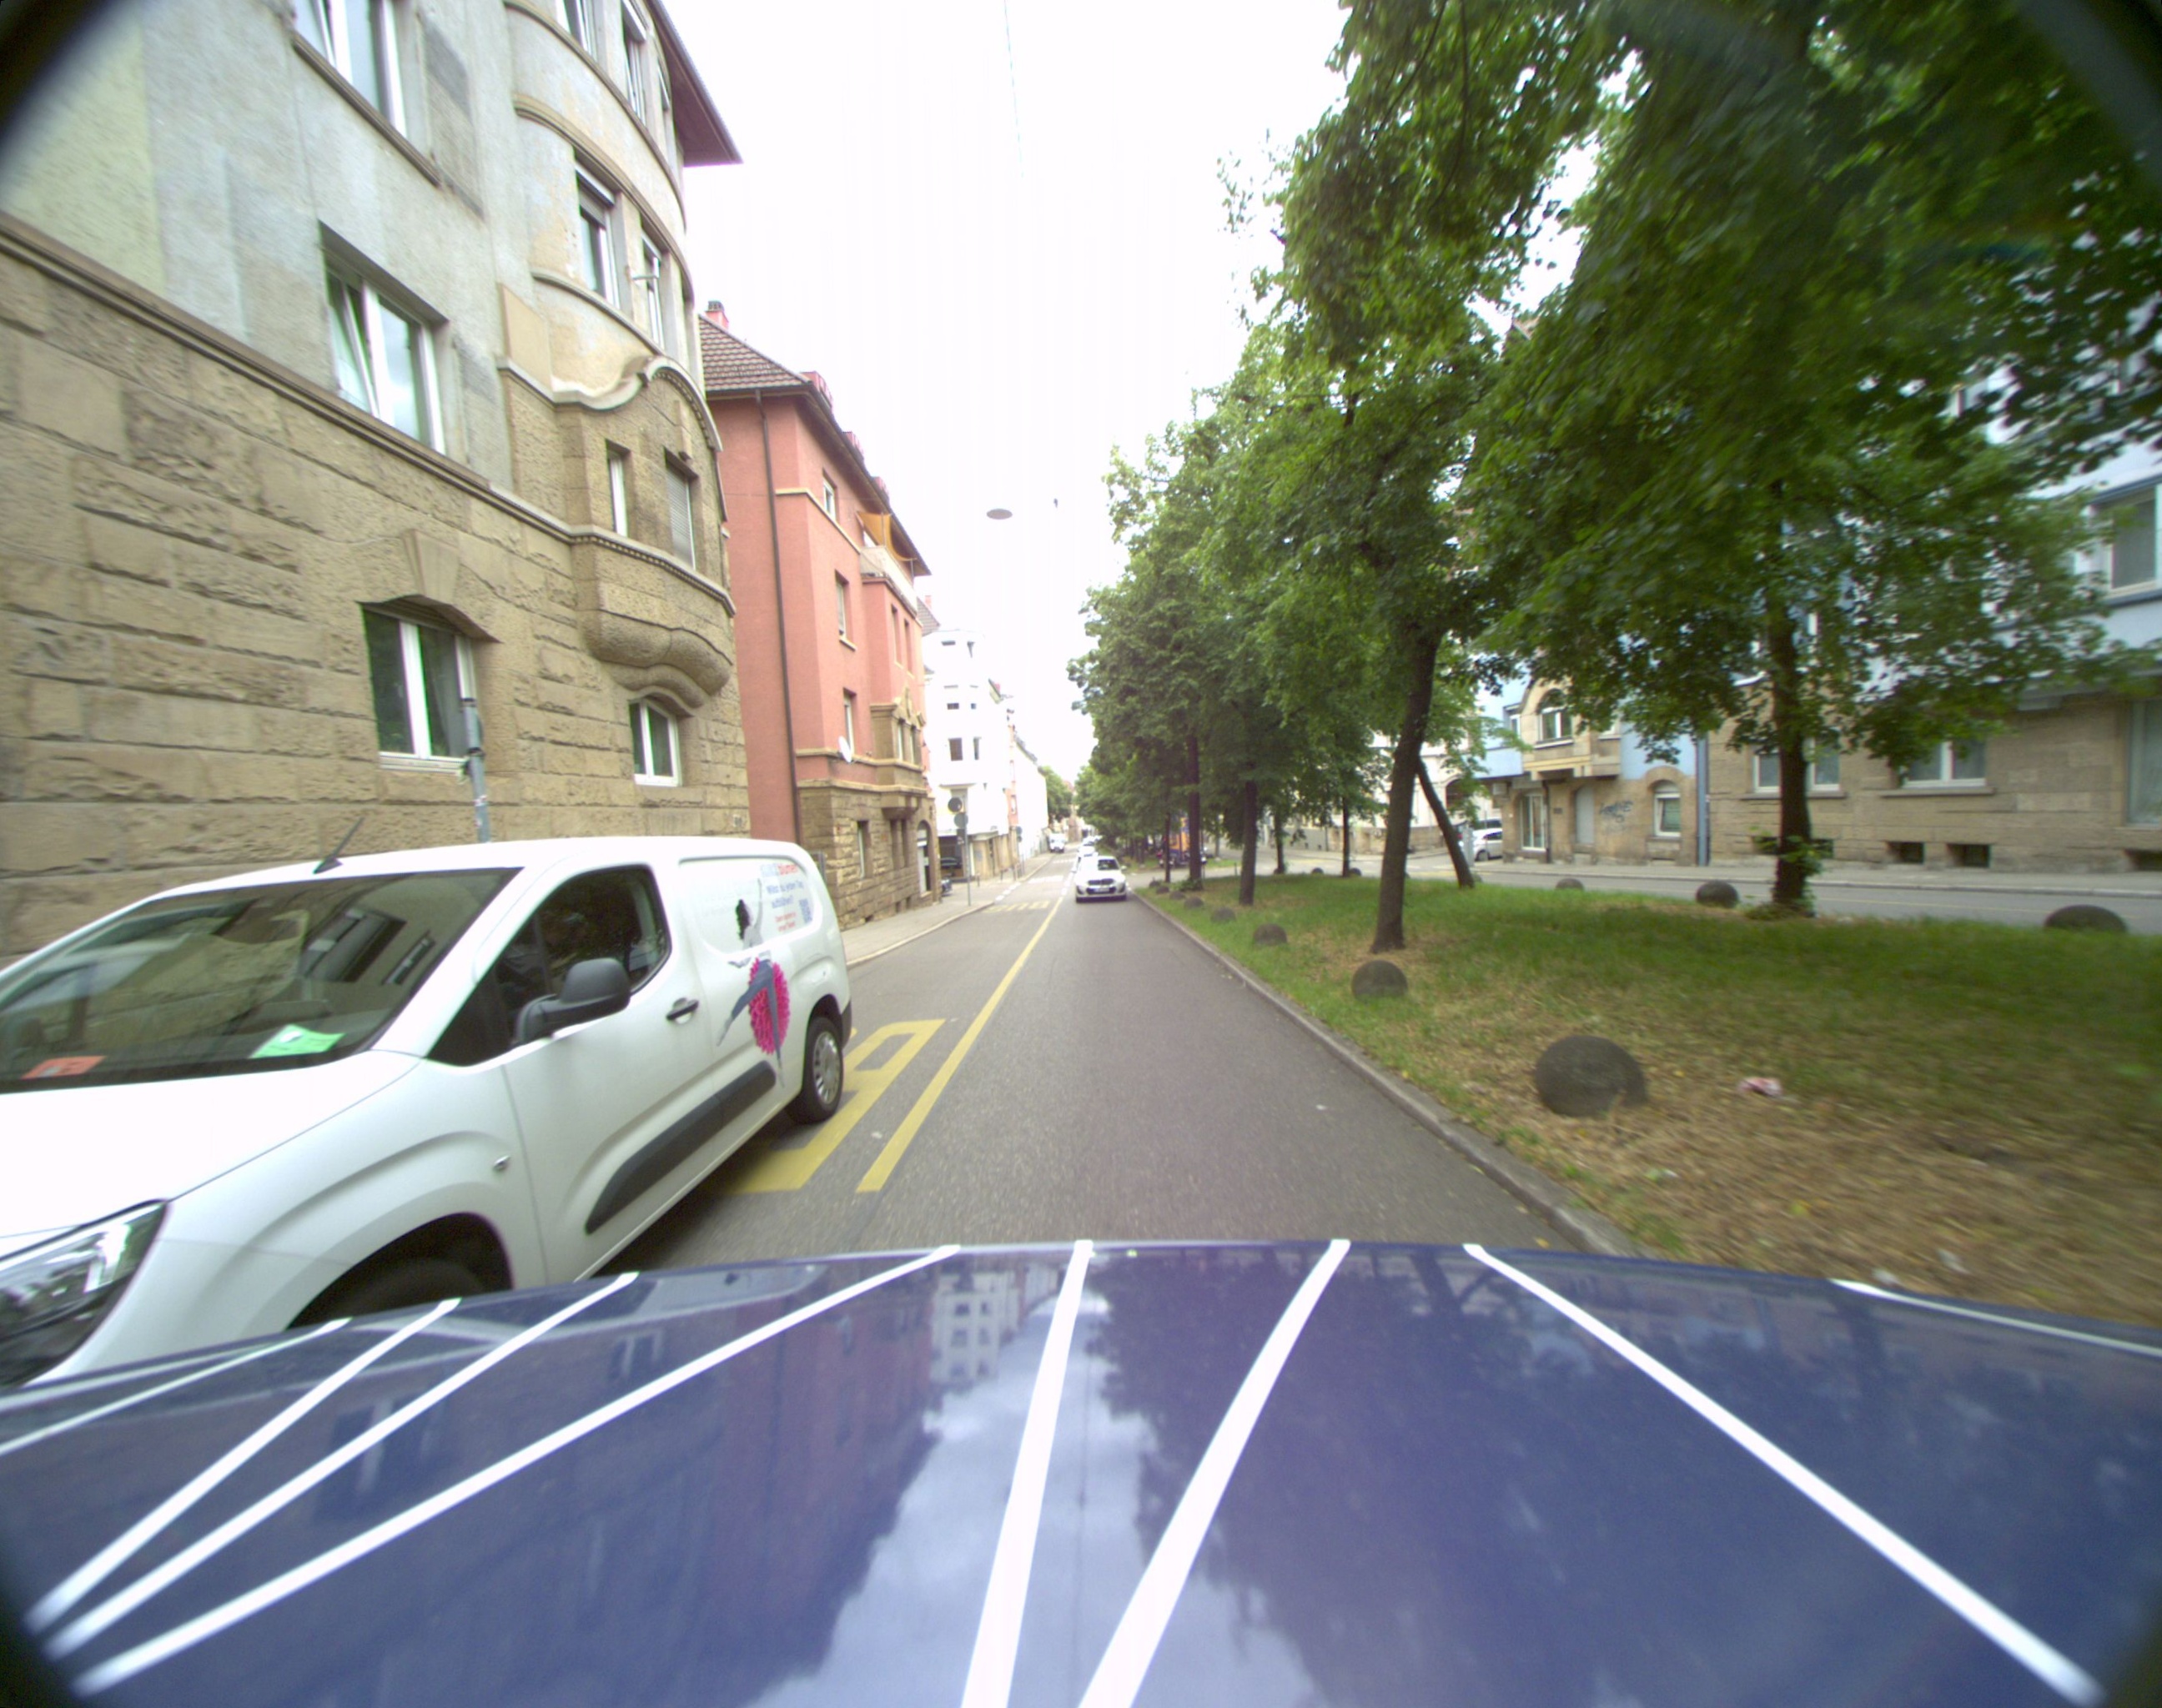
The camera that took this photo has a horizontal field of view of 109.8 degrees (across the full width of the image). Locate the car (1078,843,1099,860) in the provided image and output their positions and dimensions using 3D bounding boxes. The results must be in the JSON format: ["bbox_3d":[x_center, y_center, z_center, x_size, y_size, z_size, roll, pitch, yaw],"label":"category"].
[{"bbox_3d":[0.738,-0.287,71.781,1.854,1.361,4.280,-5,1,1],"label":"car"}]

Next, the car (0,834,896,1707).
[{"bbox_3d":[-2.580,0.921,3.233,1.853,1.815,5.020,-5,2,5],"label":"car"}]

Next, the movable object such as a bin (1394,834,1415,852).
[{"bbox_3d":[19.458,-0.659,45.752,0.888,0.988,0.668,-6,2,-1],"label":"movable object such as a bin"}]

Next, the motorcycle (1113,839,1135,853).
[{"bbox_3d":[4.156,-0.754,73.304,2.041,1.126,0.454,-4,4,1],"label":"motorcycle"}]

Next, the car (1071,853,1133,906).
[{"bbox_3d":[0.674,0.857,27.955,1.854,1.595,4.562,-6,0,-2],"label":"car"}]

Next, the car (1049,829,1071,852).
[{"bbox_3d":[-3.019,-2.024,112.803,3.026,3.045,7.165,-3,2,0],"label":"car"}]

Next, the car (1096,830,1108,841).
[{"bbox_3d":[6.199,-5.511,225.825,3.026,3.045,7.165,-3,2,0],"label":"car"}]

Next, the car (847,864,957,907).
[{"bbox_3d":[-9.183,1.591,39.380,5.141,1.541,2.237,-6,1,-4],"label":"car"}]

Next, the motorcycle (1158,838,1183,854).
[{"bbox_3d":[9.007,-0.840,76.526,2.424,1.475,0.963,-2,4,1],"label":"motorcycle"}]

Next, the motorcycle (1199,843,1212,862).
[{"bbox_3d":[8.033,-0.086,49.055,0.750,1.068,1.851,-4,4,8],"label":"motorcycle"}]

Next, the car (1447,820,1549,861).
[{"bbox_3d":[20.927,-0.722,38.208,4.007,1.462,1.870,-8,3,-2],"label":"car"}]

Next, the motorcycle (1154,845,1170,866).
[{"bbox_3d":[5.239,0.087,49.056,0.888,1.090,2.481,-4,3,8],"label":"motorcycle"}]

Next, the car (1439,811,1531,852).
[{"bbox_3d":[22.794,-1.291,42.953,4.007,1.690,1.871,-8,2,1],"label":"car"}]

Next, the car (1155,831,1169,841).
[{"bbox_3d":[13.401,-2.953,126.437,1.818,1.554,4.253,-3,1,1],"label":"car"}]

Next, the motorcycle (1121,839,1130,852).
[{"bbox_3d":[4.421,-0.855,75.806,0.454,1.299,1.627,-5,4,-10],"label":"motorcycle"}]

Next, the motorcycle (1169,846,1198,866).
[{"bbox_3d":[6.395,0.120,47.450,1.735,1.090,0.550,-4,4,4],"label":"motorcycle"}]
